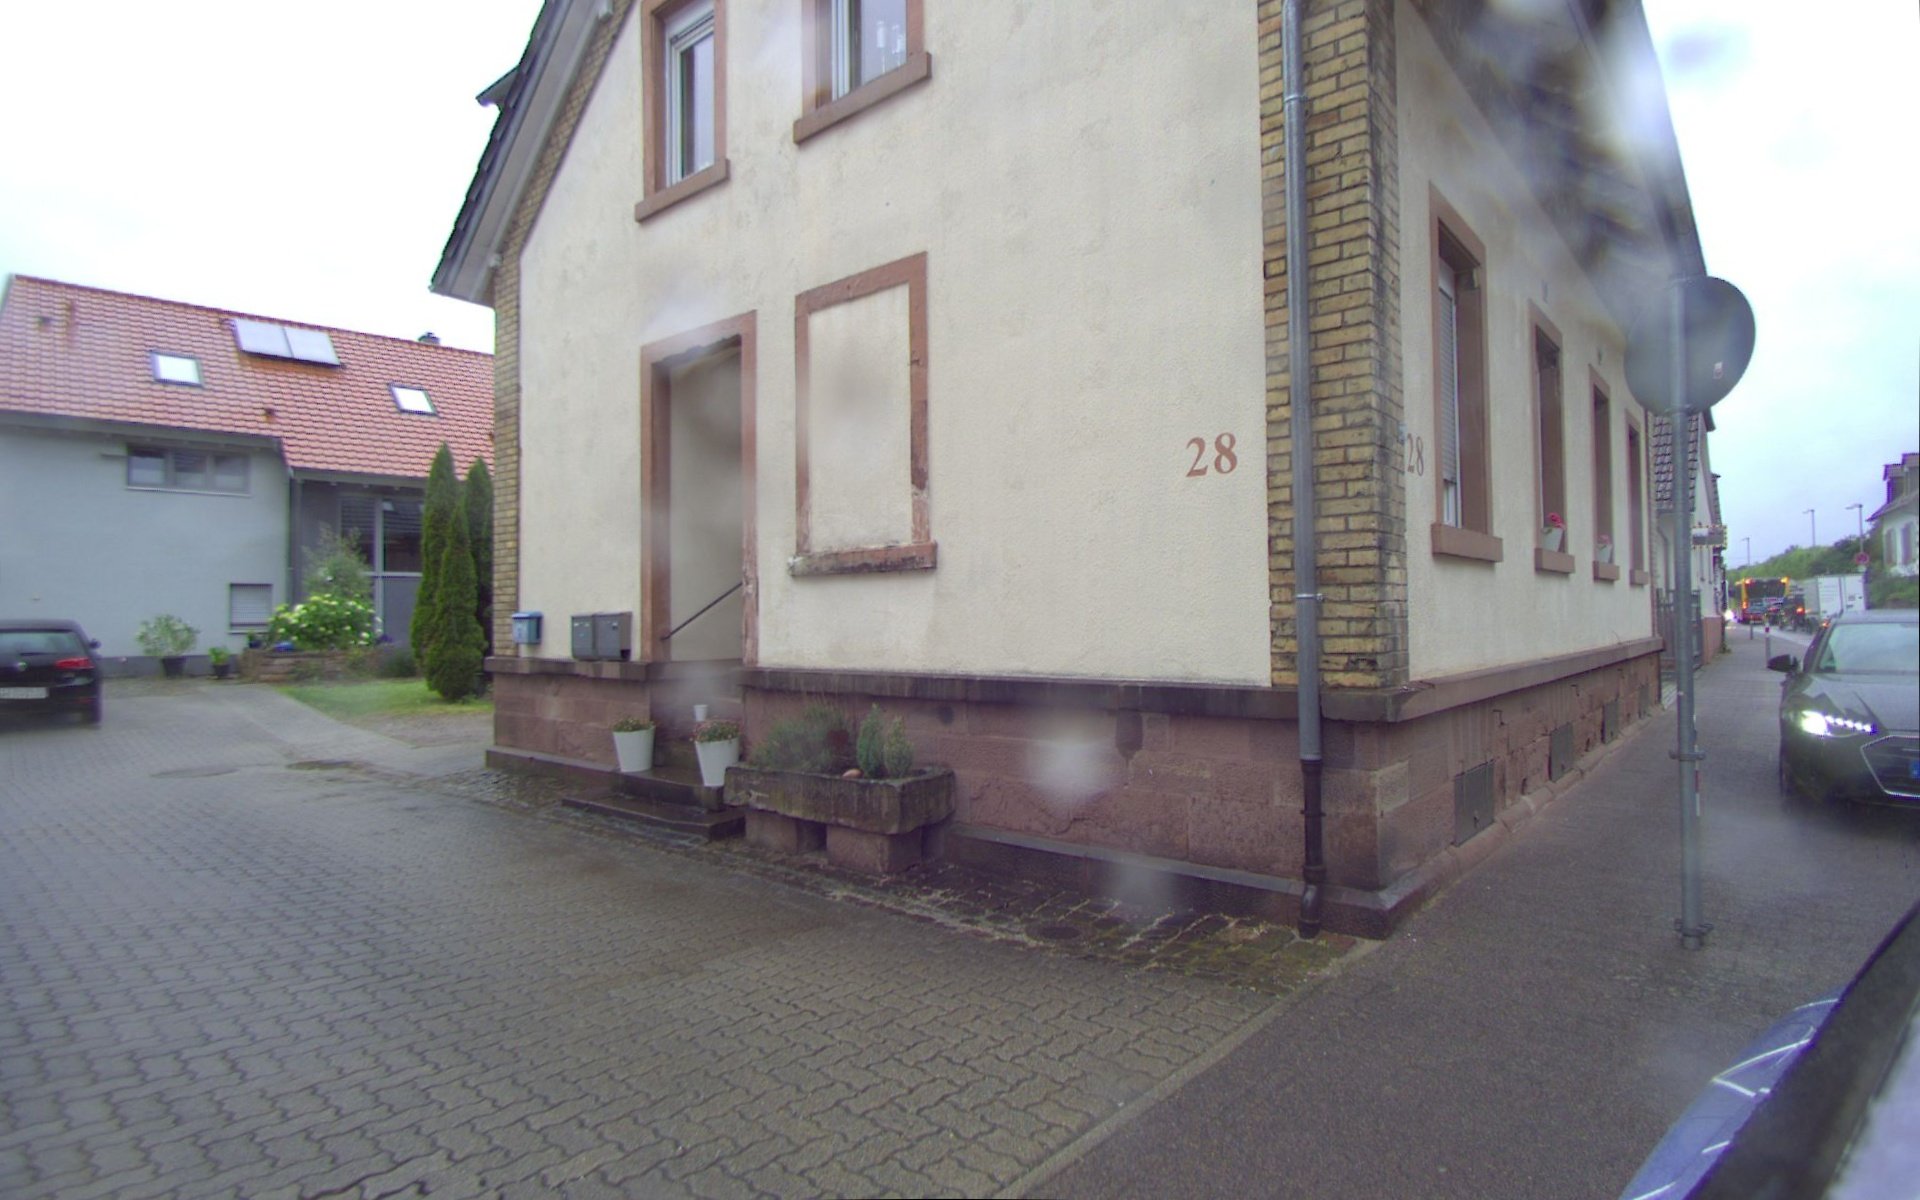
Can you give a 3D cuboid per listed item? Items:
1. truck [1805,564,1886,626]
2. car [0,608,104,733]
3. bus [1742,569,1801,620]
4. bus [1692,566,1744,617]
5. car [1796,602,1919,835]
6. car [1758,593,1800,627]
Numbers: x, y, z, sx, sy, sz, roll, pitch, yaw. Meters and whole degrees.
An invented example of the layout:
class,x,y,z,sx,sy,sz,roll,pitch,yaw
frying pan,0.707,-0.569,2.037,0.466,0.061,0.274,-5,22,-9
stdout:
class,x,y,z,sx,sy,sz,roll,pitch,yaw
truck,38.578,-0.222,44.238,1.987,2.536,5.580,0,0,34
car,-13.936,0.953,15.110,1.656,1.491,3.993,0,2,-42
bus,56.771,-0.439,71.021,2.654,3.273,12.033,0,0,36
bus,52.514,-0.594,70.265,2.654,3.273,12.033,0,0,36
car,7.378,0.728,7.541,1.732,1.388,4.044,0,0,39
car,46.838,0.530,57.902,1.794,1.839,3.945,0,0,38
